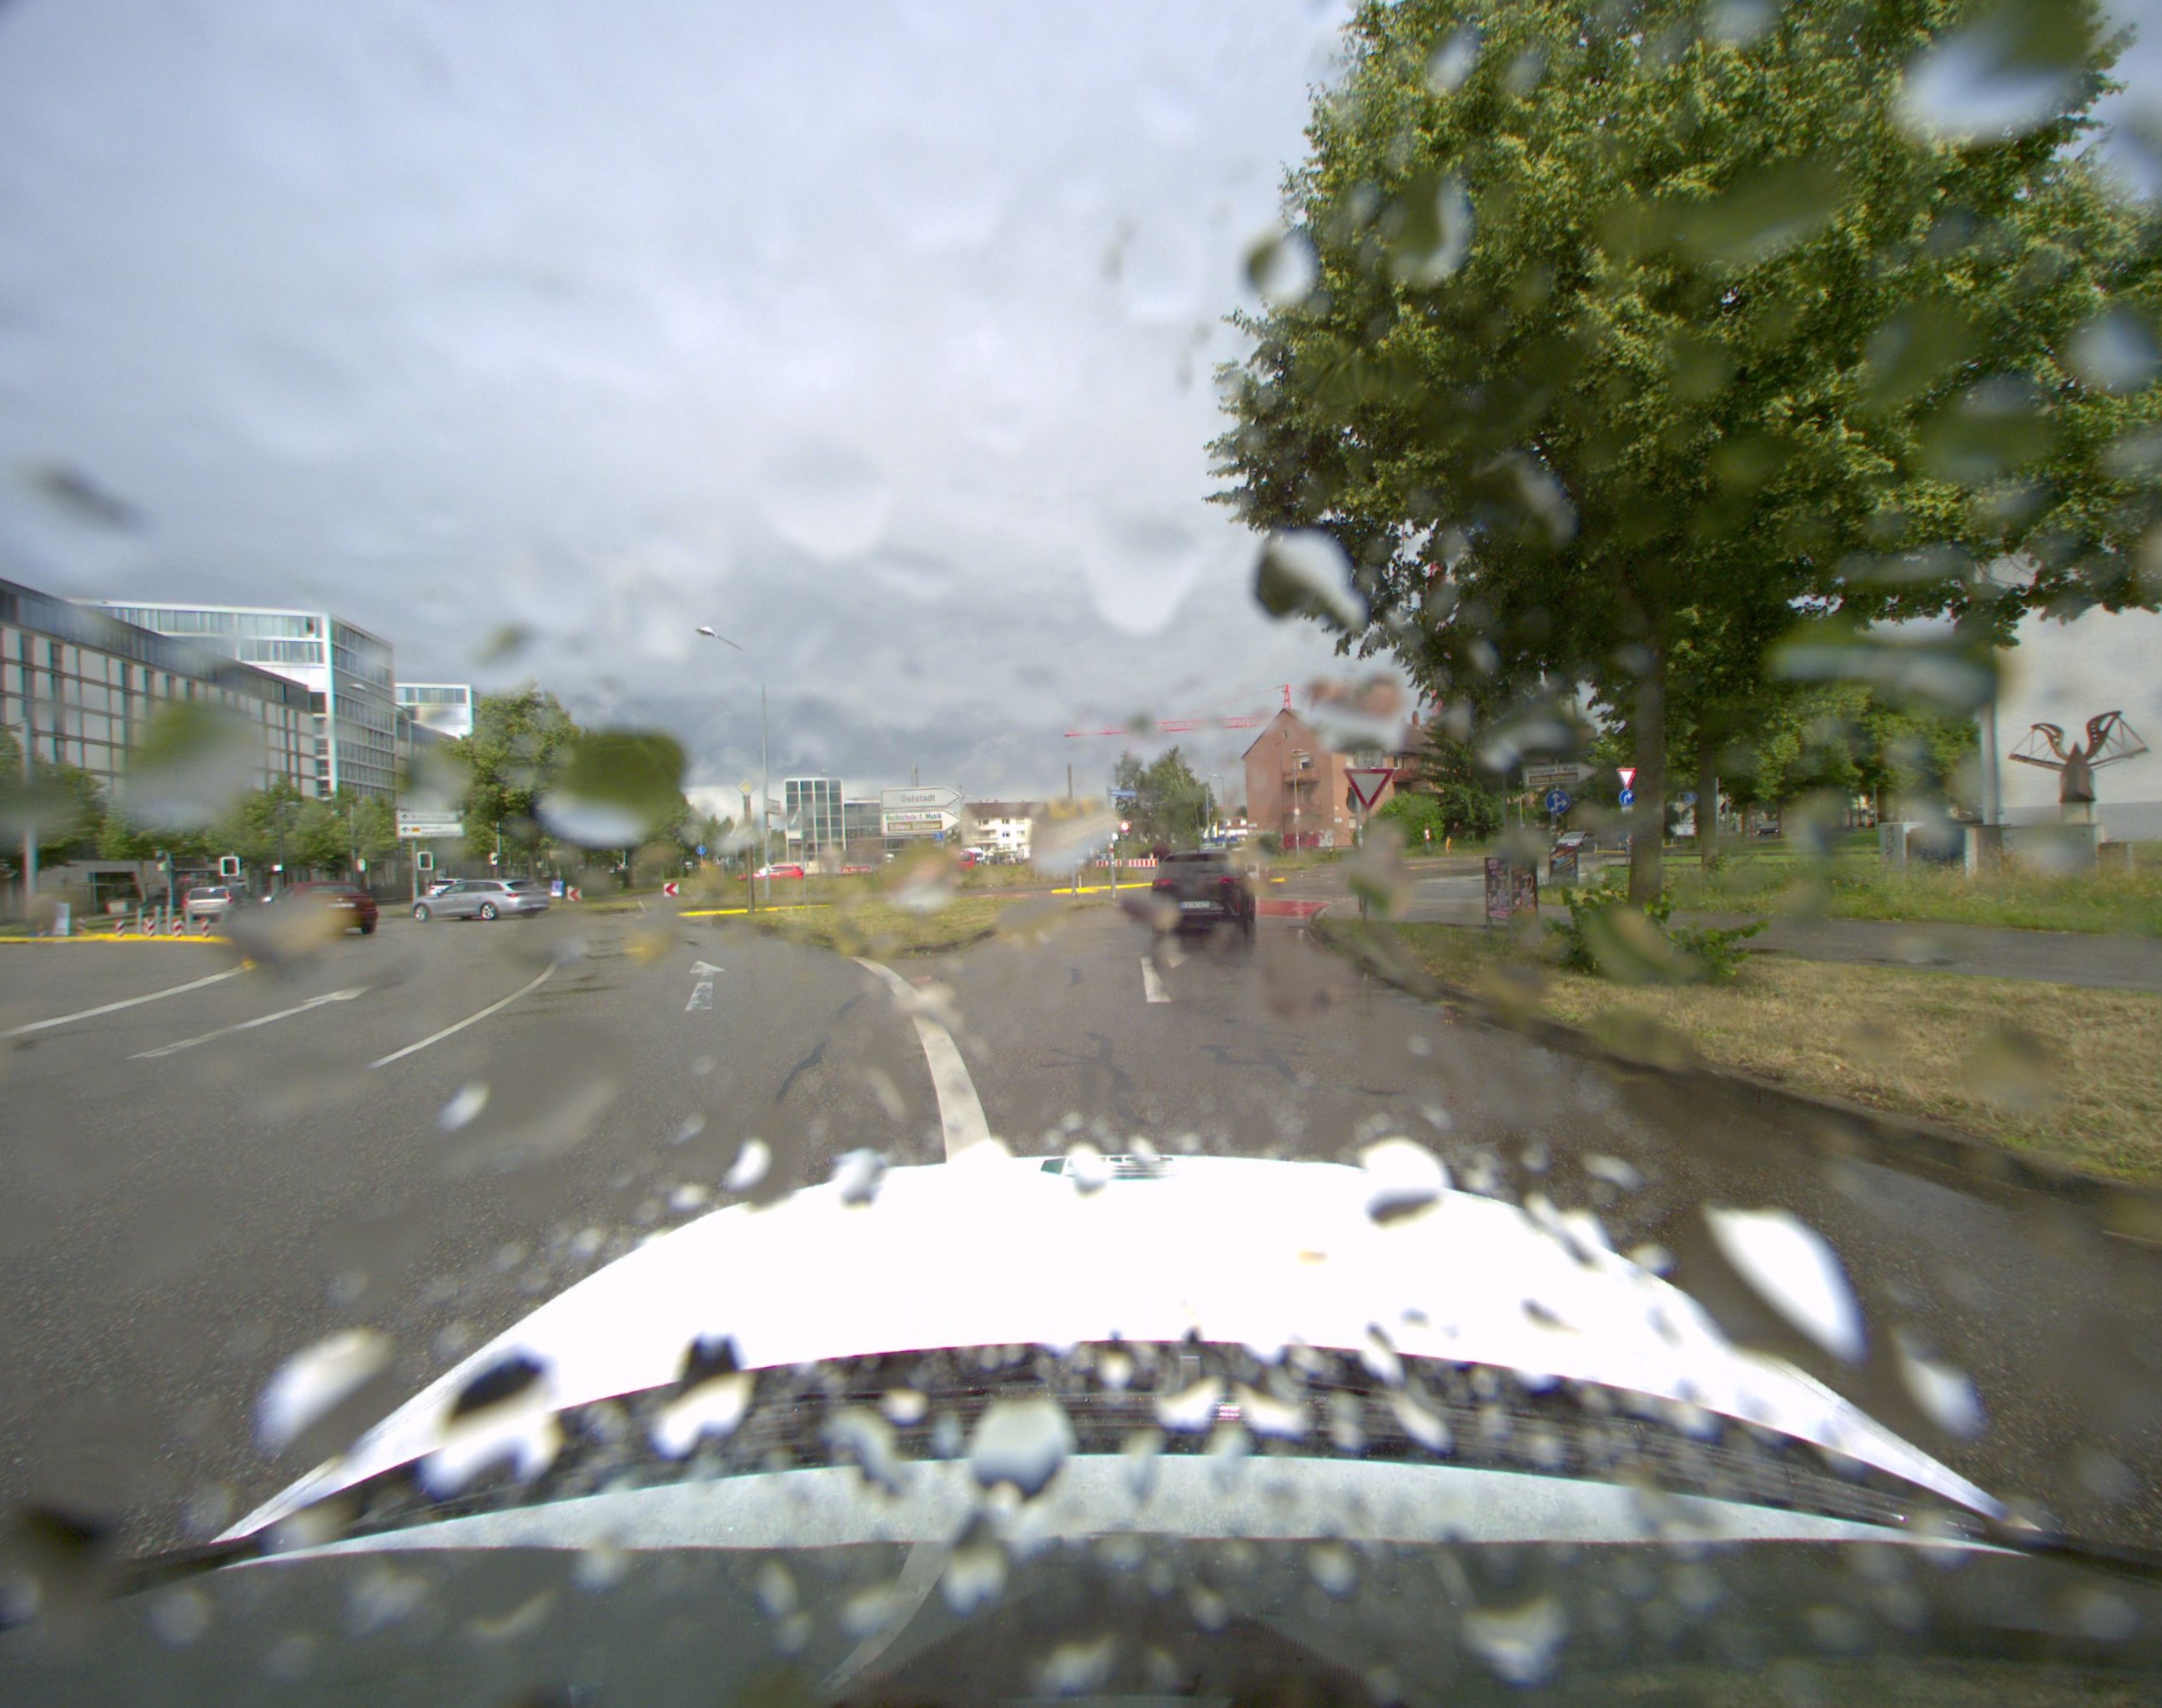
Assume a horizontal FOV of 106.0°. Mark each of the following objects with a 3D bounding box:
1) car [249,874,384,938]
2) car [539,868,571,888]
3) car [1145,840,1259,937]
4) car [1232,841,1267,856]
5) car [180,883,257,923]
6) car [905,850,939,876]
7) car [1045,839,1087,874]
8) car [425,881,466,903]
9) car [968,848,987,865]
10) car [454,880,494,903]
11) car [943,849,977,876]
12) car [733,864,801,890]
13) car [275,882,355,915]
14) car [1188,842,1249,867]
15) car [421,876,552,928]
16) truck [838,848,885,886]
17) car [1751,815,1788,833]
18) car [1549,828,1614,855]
[{"bbox_3d":[-20.352,1.391,21.639,3.948,1.462,1.731,-3,0,34],"label":"car"},{"bbox_3d":[-58.559,2.640,90.736,2.000,2.013,3.974,-2,0,-19],"label":"car"},{"bbox_3d":[2.410,0.590,16.070,1.886,1.617,4.010,-2,0,9],"label":"car"},{"bbox_3d":[18.104,-0.610,87.618,3.483,1.519,1.624,-2,0,16],"label":"car"},{"bbox_3d":[-39.164,2.173,37.062,1.556,1.560,3.464,-3,1,-32],"label":"car"},{"bbox_3d":[-11.521,0.614,58.885,1.857,1.700,3.976,-2,2,-18],"label":"car"},{"bbox_3d":[-1.122,0.100,55.966,2.036,2.084,6.248,-2,2,-9],"label":"car"},{"bbox_3d":[-48.096,2.879,61.688,1.501,1.510,3.475,-1,0,-21],"label":"car"},{"bbox_3d":[-13.947,0.289,109.327,2.372,2.084,4.956,-2,2,-9],"label":"car"},{"bbox_3d":[-44.902,2.766,60.306,1.501,1.510,3.474,-1,0,-22],"label":"car"},{"bbox_3d":[-8.460,0.555,56.903,1.926,1.700,3.981,-2,2,-14],"label":"car"},{"bbox_3d":[-21.339,1.540,55.458,4.195,1.510,1.845,-3,2,-22],"label":"car"},{"bbox_3d":[-36.603,2.082,39.030,1.707,1.367,3.812,-2,0,-27],"label":"car"},{"bbox_3d":[9.841,0.037,58.400,4.040,1.632,1.613,-2,0,-6],"label":"car"},{"bbox_3d":[-20.574,1.649,28.246,3.516,1.560,1.605,-3,1,11],"label":"car"},{"bbox_3d":[-14.855,0.790,55.356,2.389,2.211,6.082,-2,2,-9],"label":"truck"},{"bbox_3d":[71.439,-3.165,84.486,4.722,1.731,2.058,-3,3,-38],"label":"car"},{"bbox_3d":[35.939,-0.897,58.456,4.715,1.731,2.061,-3,3,-32],"label":"car"}]
